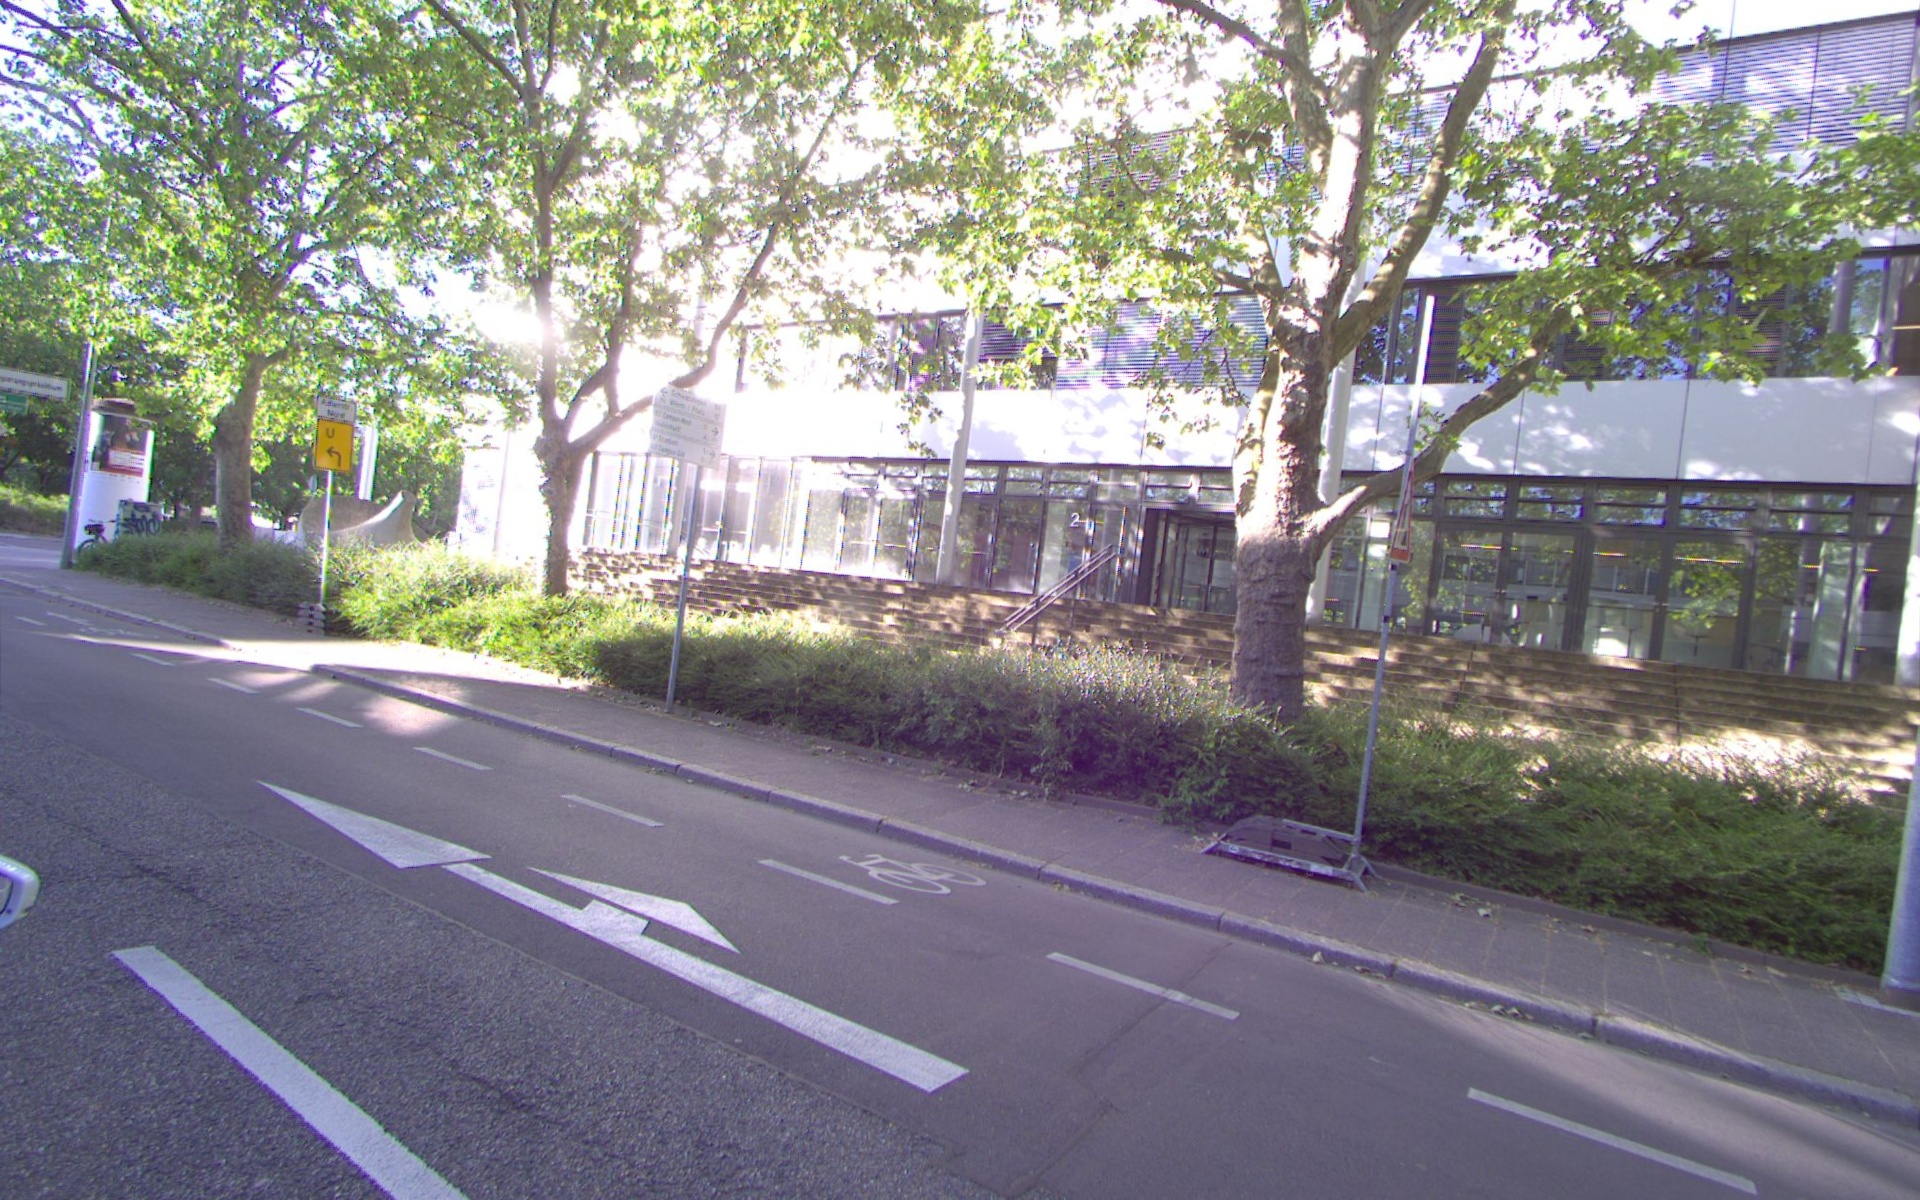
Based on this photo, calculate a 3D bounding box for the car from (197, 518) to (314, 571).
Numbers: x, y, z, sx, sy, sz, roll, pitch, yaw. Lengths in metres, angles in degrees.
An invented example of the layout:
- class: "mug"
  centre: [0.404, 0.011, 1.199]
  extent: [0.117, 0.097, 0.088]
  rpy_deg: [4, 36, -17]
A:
- class: "car"
  centre: [-32.695, -2.558, 46.819]
  extent: [1.708, 1.792, 3.996]
  rpy_deg: [7, -1, 30]

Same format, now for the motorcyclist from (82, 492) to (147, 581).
- class: "motorcyclist"
  centre: [-19.349, -1.446, 23.029]
  extent: [0.662, 1.885, 0.823]
  rpy_deg: [6, -1, 37]

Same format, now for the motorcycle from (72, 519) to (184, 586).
- class: "motorcycle"
  centre: [-19.222, -1.092, 23.277]
  extent: [0.712, 1.257, 1.782]
  rpy_deg: [6, -2, 37]
